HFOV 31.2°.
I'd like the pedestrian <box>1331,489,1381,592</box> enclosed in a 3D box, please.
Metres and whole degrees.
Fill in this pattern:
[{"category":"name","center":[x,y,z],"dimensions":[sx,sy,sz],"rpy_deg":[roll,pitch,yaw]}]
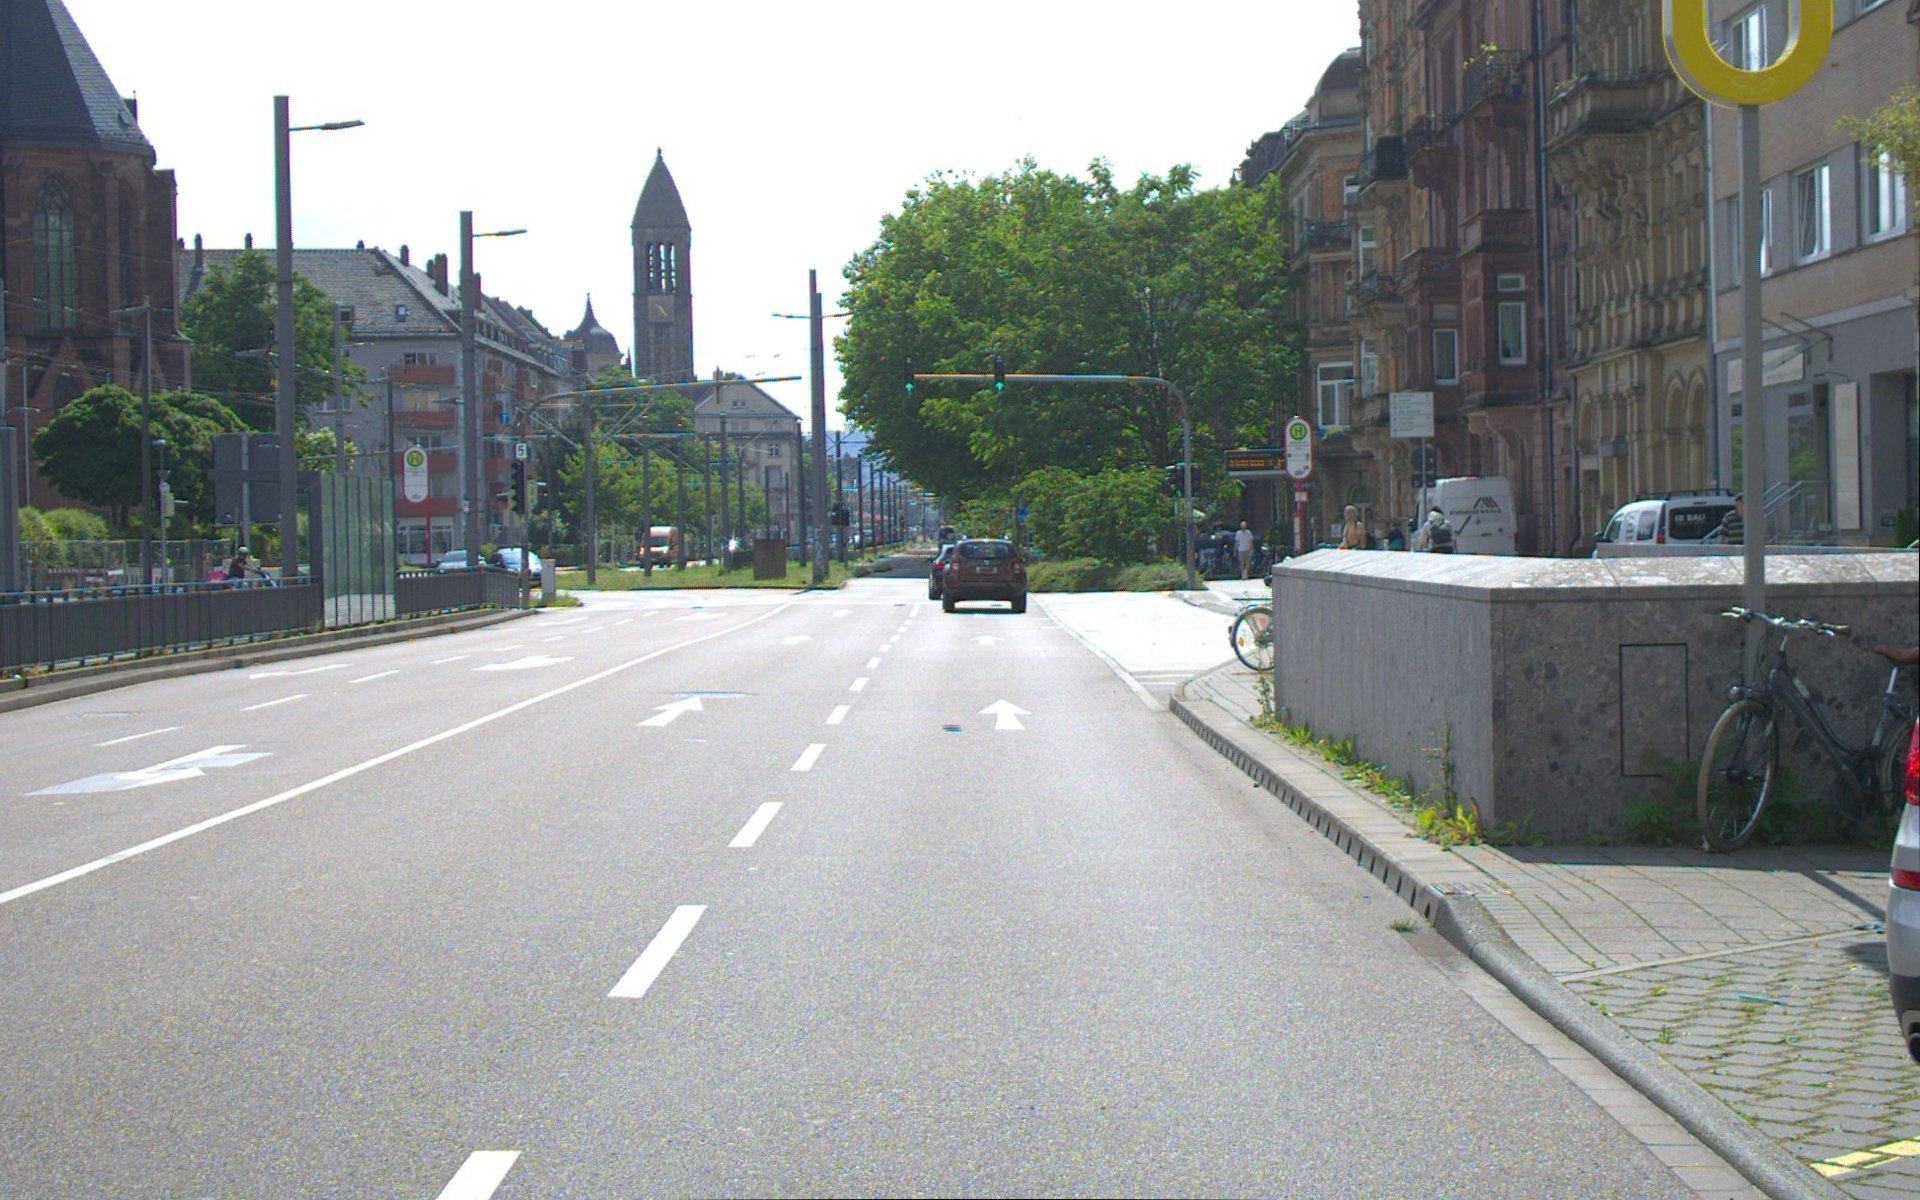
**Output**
[{"category":"pedestrian","center":[7.441,-1.115,64.591],"dimensions":[0.662,1.896,0.695],"rpy_deg":[-2,1,-18]}]

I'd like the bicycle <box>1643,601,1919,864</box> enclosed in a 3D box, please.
[{"category":"bicycle","center":[4.036,0.609,15.709],"dimensions":[1.632,1.092,0.613],"rpy_deg":[3,3,-2]}]

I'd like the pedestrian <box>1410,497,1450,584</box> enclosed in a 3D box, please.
[{"category":"pedestrian","center":[10.071,-1.272,73.644],"dimensions":[0.662,1.830,0.695],"rpy_deg":[-2,1,-6]}]

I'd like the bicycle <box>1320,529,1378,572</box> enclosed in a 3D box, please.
[{"category":"bicycle","center":[12.104,-1.541,106.976],"dimensions":[1.769,1.263,0.466],"rpy_deg":[-1,3,4]}]

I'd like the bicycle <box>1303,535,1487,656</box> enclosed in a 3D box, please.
[{"category":"bicycle","center":[4.712,-0.054,37.217],"dimensions":[1.923,1.233,0.441],"rpy_deg":[-2,3,-10]}]

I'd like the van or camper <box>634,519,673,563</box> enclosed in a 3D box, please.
[{"category":"van or camper","center":[-19.916,-3.825,223.726],"dimensions":[2.255,2.728,6.204],"rpy_deg":[-1,1,-3]}]

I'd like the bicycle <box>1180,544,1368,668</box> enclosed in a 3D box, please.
[{"category":"bicycle","center":[3.324,0.054,36.393],"dimensions":[1.923,1.233,0.441],"rpy_deg":[-2,3,-12]}]

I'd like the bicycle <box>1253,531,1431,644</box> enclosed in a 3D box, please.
[{"category":"bicycle","center":[4.380,-0.150,39.449],"dimensions":[1.978,1.233,0.441],"rpy_deg":[-2,3,-11]}]

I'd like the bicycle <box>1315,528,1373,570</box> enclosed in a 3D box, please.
[{"category":"bicycle","center":[12.029,-1.609,107.777],"dimensions":[1.769,1.263,0.466],"rpy_deg":[-1,3,4]}]

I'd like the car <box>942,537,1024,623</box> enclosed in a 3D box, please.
[{"category":"car","center":[0.489,-0.462,76.282],"dimensions":[1.689,1.705,3.610],"rpy_deg":[-1,3,-1]}]

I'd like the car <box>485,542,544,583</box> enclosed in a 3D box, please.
[{"category":"car","center":[-16.087,-1.359,124.330],"dimensions":[1.915,1.412,3.742],"rpy_deg":[-1,1,-5]}]

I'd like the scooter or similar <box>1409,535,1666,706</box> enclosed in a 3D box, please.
[{"category":"scooter or similar","center":[5.398,0.189,32.224],"dimensions":[2.325,1.540,0.698],"rpy_deg":[-1,3,6]}]

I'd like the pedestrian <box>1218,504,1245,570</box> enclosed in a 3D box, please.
[{"category":"pedestrian","center":[8.443,-1.955,106.941],"dimensions":[0.768,2.007,0.715],"rpy_deg":[-2,1,1]}]

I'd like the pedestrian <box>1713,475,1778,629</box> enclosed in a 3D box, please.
[{"category":"pedestrian","center":[10.905,-0.670,47.772],"dimensions":[0.721,2.092,0.786],"rpy_deg":[-1,3,1]}]

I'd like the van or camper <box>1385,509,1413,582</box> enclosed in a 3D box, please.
[{"category":"van or camper","center":[12.367,-1.536,96.783],"dimensions":[0.666,2.007,0.638],"rpy_deg":[-2,1,0]}]

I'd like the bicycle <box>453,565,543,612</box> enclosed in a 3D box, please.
[{"category":"bicycle","center":[-11.542,-0.281,85.869],"dimensions":[2.019,1.122,0.931],"rpy_deg":[-1,1,11]}]

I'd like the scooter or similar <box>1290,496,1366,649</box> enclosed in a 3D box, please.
[{"category":"scooter or similar","center":[4.384,-0.333,41.012],"dimensions":[0.397,1.780,1.538],"rpy_deg":[-2,1,-12]}]

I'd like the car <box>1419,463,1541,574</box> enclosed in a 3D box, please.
[{"category":"car","center":[12.260,-1.921,81.409],"dimensions":[1.993,2.517,5.889],"rpy_deg":[-1,1,0]}]

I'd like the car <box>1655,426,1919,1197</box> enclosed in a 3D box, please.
[{"category":"car","center":[3.978,0.382,8.563],"dimensions":[4.583,1.641,2.061],"rpy_deg":[-2,2,-42]}]

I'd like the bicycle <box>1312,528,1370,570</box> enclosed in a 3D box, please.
[{"category":"bicycle","center":[12.012,-1.616,108.403],"dimensions":[1.769,1.263,0.466],"rpy_deg":[-1,3,4]}]

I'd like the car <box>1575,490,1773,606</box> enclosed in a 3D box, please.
[{"category":"car","center":[12.173,-0.872,58.939],"dimensions":[1.993,1.856,4.753],"rpy_deg":[-1,0,-5]}]

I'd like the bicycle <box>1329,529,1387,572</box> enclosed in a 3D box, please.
[{"category":"bicycle","center":[12.215,-1.526,105.523],"dimensions":[1.746,1.263,0.466],"rpy_deg":[-1,3,4]}]
